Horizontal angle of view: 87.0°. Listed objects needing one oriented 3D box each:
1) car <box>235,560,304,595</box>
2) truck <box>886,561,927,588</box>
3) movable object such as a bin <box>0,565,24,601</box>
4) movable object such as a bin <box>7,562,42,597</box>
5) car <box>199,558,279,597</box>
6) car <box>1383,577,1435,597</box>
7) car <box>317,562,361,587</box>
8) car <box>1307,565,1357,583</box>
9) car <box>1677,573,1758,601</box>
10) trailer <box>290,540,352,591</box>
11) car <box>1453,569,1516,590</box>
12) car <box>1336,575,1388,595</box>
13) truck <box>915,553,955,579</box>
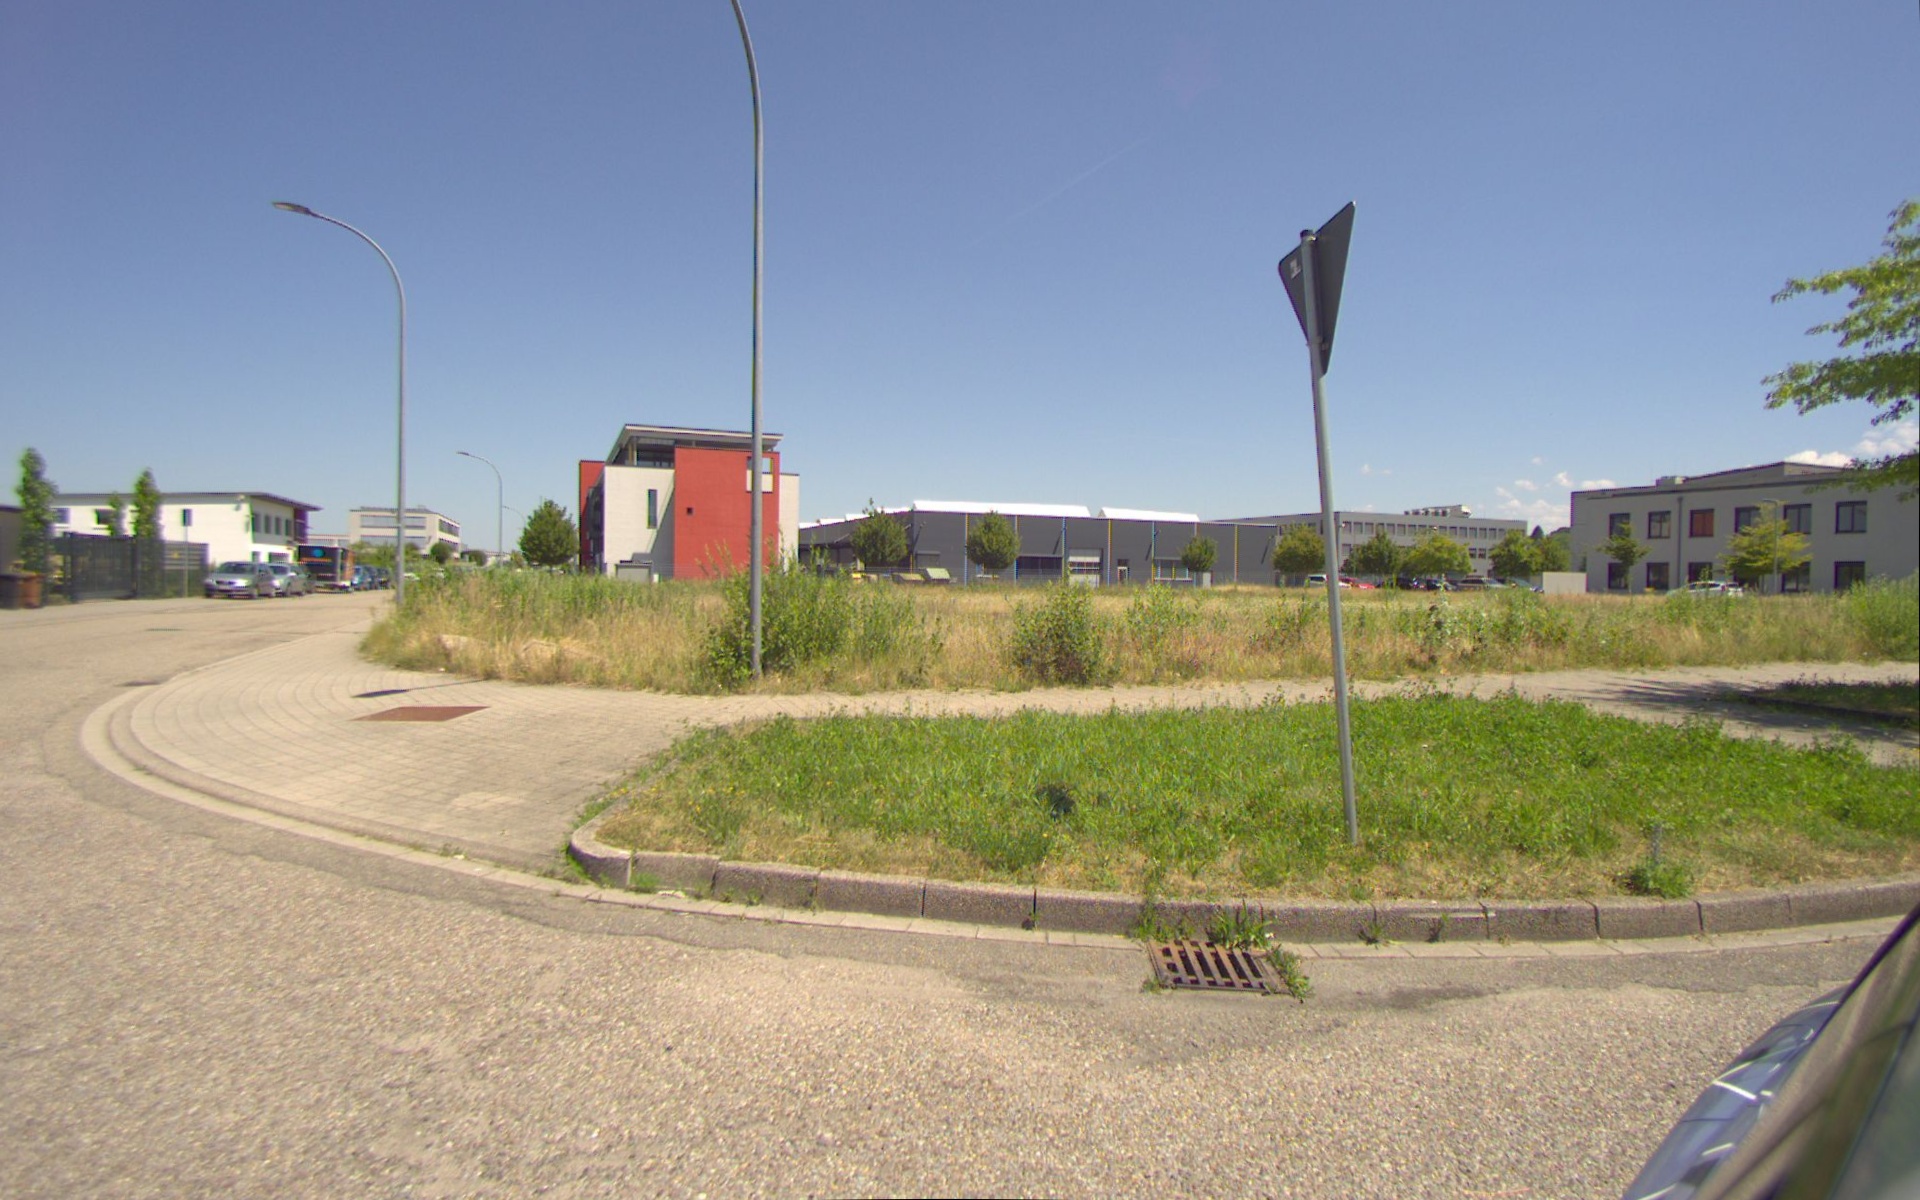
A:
[{"bbox_3d":[-30.232,-0.996,44.427,1.642,1.401,3.650,2,1,-21],"label":"car"},{"bbox_3d":[-4.319,-2.070,81.151,1.958,2.038,4.366,0,2,-22],"label":"truck"},{"bbox_3d":[-23.963,-0.436,25.408,0.549,0.895,0.437,1,1,-20],"label":"movable object such as a bin"},{"bbox_3d":[-24.267,-0.525,26.250,0.549,0.895,0.437,1,1,-20],"label":"movable object such as a bin"},{"bbox_3d":[-28.306,-0.897,39.830,1.642,1.401,3.650,2,1,-21],"label":"car"},{"bbox_3d":[38.110,-1.108,86.014,1.683,1.528,4.009,0,2,-21],"label":"car"},{"bbox_3d":[-37.379,-1.532,60.991,1.642,1.401,3.650,2,1,-22],"label":"car"},{"bbox_3d":[30.761,-2.174,83.812,1.683,1.470,4.009,0,2,-21],"label":"car"},{"bbox_3d":[43.852,-0.760,58.649,1.683,1.528,3.342,0,2,-21],"label":"car"},{"bbox_3d":[-34.608,-1.886,54.922,2.186,2.632,4.009,0,2,-22],"label":"trailer"},{"bbox_3d":[39.369,-1.546,76.066,1.683,1.528,4.009,0,2,-22],"label":"car"},{"bbox_3d":[33.355,-1.247,84.024,1.683,1.528,4.009,0,2,-21],"label":"car"},{"bbox_3d":[-2.033,-2.793,82.517,1.958,2.038,4.009,0,2,-22],"label":"truck"}]
